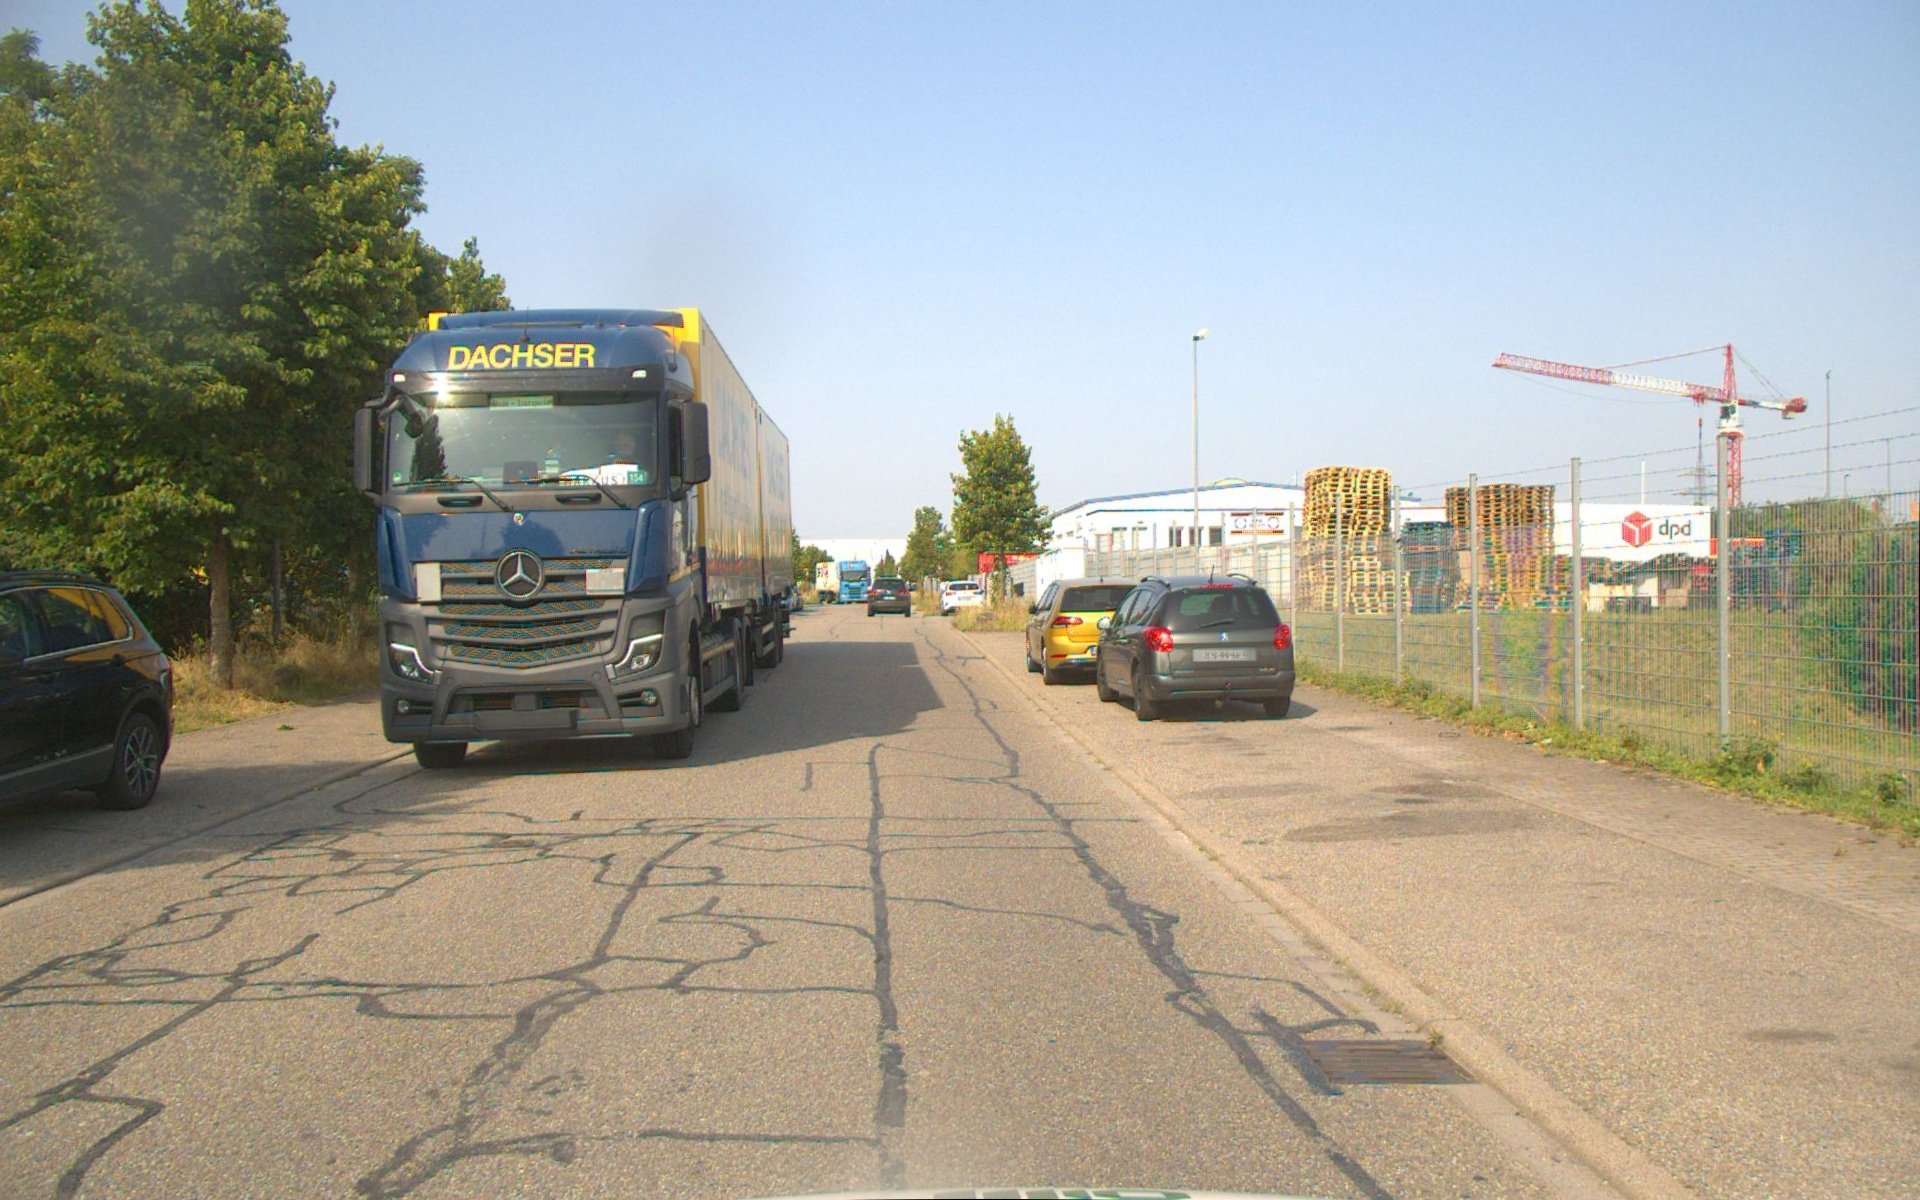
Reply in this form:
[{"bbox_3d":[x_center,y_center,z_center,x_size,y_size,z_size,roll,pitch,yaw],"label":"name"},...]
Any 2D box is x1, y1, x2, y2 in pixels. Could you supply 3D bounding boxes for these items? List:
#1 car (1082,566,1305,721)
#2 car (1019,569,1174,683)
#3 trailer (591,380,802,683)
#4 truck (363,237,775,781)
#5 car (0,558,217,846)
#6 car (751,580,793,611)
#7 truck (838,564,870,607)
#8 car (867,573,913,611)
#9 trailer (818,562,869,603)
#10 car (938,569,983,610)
[{"bbox_3d":[2.570,0.430,19.118,1.681,1.541,4.000,-2,1,-5],"label":"car"},{"bbox_3d":[1.939,0.332,24.637,1.681,1.480,4.184,-2,1,-3],"label":"car"},{"bbox_3d":[-4.137,-1.014,27.704,2.448,4.217,8.492,-2,1,-3],"label":"trailer"},{"bbox_3d":[-3.653,-0.781,18.241,2.448,4.217,10.373,-2,1,-3],"label":"truck"},{"bbox_3d":[-6.460,0.560,10.146,1.864,1.654,4.448,1,0,-2],"label":"car"},{"bbox_3d":[-9.343,-0.234,82.409,1.769,1.522,3.935,0,0,-2],"label":"car"},{"bbox_3d":[-9.585,-1.322,148.974,2.822,3.826,6.079,0,0,-4],"label":"truck"},{"bbox_3d":[-3.092,-0.338,72.359,1.844,1.614,4.109,0,0,-5],"label":"car"},{"bbox_3d":[-11.177,-1.645,157.485,2.830,3.826,12.033,0,0,-14],"label":"trailer"},{"bbox_3d":[-0.010,-0.445,70.247,1.681,1.709,3.947,0,0,-4],"label":"car"}]
